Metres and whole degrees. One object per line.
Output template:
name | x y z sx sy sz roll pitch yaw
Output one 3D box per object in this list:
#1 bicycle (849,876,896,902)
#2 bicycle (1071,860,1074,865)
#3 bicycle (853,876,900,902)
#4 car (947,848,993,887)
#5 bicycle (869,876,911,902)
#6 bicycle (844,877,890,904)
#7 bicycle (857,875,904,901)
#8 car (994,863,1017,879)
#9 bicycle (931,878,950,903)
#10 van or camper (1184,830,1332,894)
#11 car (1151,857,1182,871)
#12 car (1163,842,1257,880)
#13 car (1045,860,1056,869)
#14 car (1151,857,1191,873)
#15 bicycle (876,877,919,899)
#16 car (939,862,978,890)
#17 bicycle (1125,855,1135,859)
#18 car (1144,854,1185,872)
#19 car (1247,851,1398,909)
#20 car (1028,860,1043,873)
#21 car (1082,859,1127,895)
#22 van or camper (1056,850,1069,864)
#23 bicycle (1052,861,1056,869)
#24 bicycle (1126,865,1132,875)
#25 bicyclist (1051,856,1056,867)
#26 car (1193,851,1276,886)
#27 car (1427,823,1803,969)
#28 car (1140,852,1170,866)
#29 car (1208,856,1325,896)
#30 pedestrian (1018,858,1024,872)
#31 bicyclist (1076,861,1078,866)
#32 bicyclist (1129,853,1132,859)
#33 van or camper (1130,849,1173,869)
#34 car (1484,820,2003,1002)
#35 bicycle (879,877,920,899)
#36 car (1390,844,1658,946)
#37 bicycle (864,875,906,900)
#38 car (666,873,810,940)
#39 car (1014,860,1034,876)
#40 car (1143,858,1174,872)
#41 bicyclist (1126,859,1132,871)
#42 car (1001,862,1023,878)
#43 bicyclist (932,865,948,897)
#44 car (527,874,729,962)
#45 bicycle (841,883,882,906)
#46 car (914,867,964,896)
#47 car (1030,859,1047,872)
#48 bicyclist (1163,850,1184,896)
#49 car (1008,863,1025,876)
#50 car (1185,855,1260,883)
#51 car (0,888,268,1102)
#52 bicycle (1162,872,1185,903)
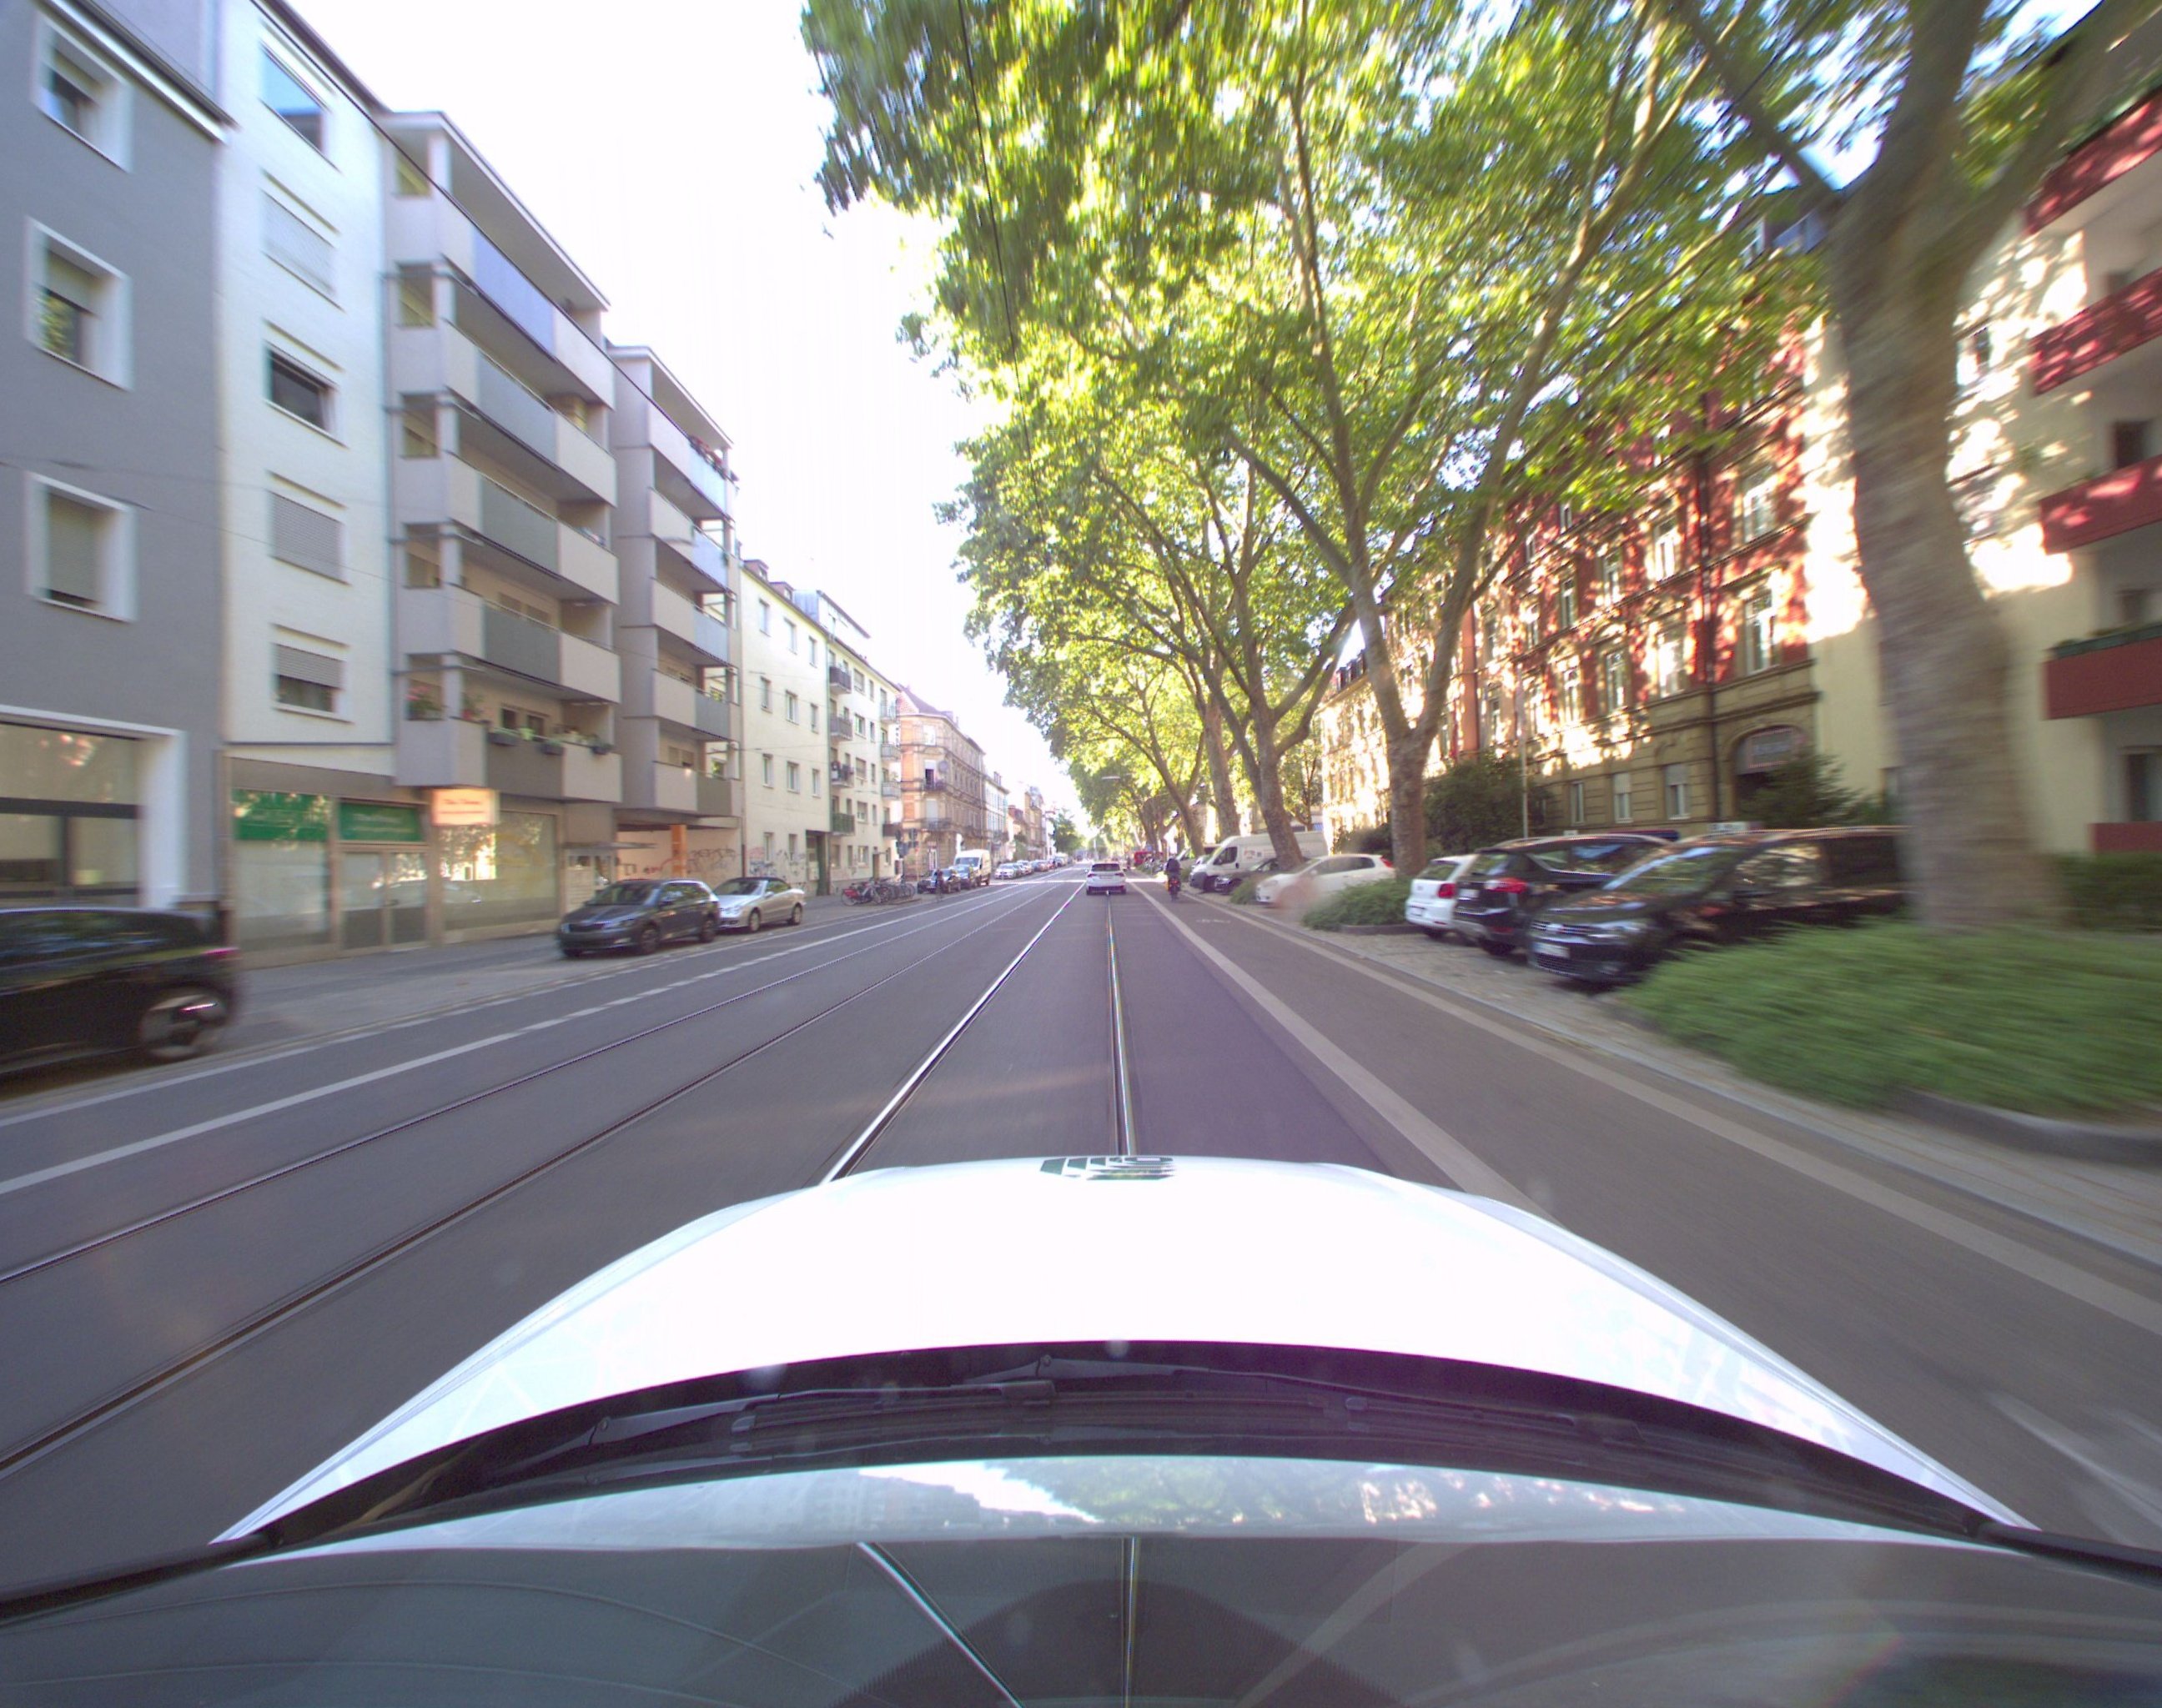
bicycle | -8.958 1.508 35.019 1.920 1.119 0.440 0 -1 8
bicycle | -1.904 2.003 182.589 0.479 1.086 1.847 -2 0 3
bicycle | -8.918 1.512 35.557 1.950 1.119 0.440 0 -1 8
car | -7.793 0.914 57.750 2.056 2.535 5.672 -2 0 3
bicycle | -8.666 1.585 36.952 1.779 1.119 0.425 0 -1 8
bicycle | -9.036 1.538 34.389 1.883 1.119 0.403 0 -1 8
bicycle | -8.870 1.515 36.044 1.957 1.119 0.425 0 -1 8
car | -7.216 1.625 78.217 1.735 1.492 4.045 0 -1 1
bicycle | -6.309 1.621 36.702 0.415 1.018 1.947 -3 -1 2
van or camper | 7.694 0.351 35.815 6.012 2.491 2.107 -2 -1 0
car | 10.266 1.243 97.951 3.581 1.599 1.541 -2 -1 2
car | 8.533 0.462 54.302 5.966 2.282 2.008 -2 0 3
car | -5.247 1.783 141.025 1.821 1.502 4.687 -1 0 0
car | 9.422 1.123 85.273 4.014 1.480 1.681 -3 0 0
bicycle | -8.560 1.592 37.999 1.883 1.038 0.403 0 -1 8
car | -7.814 1.390 52.248 1.713 1.631 4.347 -2 0 0
bicycle | 14.126 0.887 233.296 2.748 0.999 0.595 -1 -1 16
car | 9.295 1.019 91.015 4.249 1.719 1.848 -4 0 -1
car | 7.011 0.748 23.945 3.938 1.480 1.689 -3 -1 2
car | -6.104 1.669 109.743 1.547 1.515 3.928 -2 0 4
car | 0.989 0.985 35.887 1.836 1.480 3.837 -1 -1 0
van or camper | -4.124 0.631 181.682 2.207 3.140 7.120 -1 0 4
bicycle | -4.011 1.573 119.679 0.419 1.150 2.232 -3 -1 1
bicycle | 5.696 1.923 97.018 0.677 1.155 2.966 0 -1 2
bicyclist | -4.016 1.120 119.639 0.580 1.482 0.807 -3 -1 1
car | 7.976 0.764 42.461 3.944 1.655 1.795 -2 -1 -2
car | 7.172 0.536 11.267 3.979 1.745 1.806 -2 0 1
car | 9.922 0.722 110.043 3.807 1.649 1.766 -3 -2 -1
car | 7.499 0.870 33.123 4.373 1.552 1.783 0 -1 1
pedestrian | -9.177 1.701 124.068 0.757 2.014 0.830 -2 -1 0
bicyclist | -1.116 2.651 229.392 0.635 1.503 1.070 -3 -1 3
bicyclist | 14.100 0.562 233.331 0.731 1.589 0.589 -2 -1 14
van or camper | 9.919 0.702 114.672 5.797 2.519 2.287 -4 0 -1
car | 6.990 0.564 8.908 4.279 1.652 1.742 -2 -1 -2
bicycle | -8.598 1.601 38.580 1.883 1.038 0.403 0 -1 8
car | 7.336 0.656 13.739 3.597 1.495 1.660 -2 -1 0
bicycle | -8.844 1.521 36.730 1.808 1.119 0.425 0 -1 8
car | -9.027 1.315 21.926 1.683 1.491 4.731 -2 0 2
car | -6.546 1.590 94.374 1.779 1.723 4.720 0 -1 2
car | 9.546 1.340 100.310 3.582 1.517 1.694 -3 0 1
bicyclist | 5.699 1.298 97.154 0.676 1.339 0.525 0 -1 2
car | -7.057 1.647 83.955 1.735 1.562 4.786 0 0 1
bicyclist | -6.342 1.223 36.570 0.507 1.394 0.709 -4 -1 1
car | -9.241 1.224 17.081 1.788 1.491 4.240 -2 0 0
bicycle | -9.118 1.660 33.800 1.621 0.917 0.400 0 -1 -15
car | -8.003 1.503 46.250 1.711 1.456 4.576 -2 0 3
car | -5.957 1.658 114.559 1.849 1.703 4.766 -2 0 3
bicyclist | 3.263 0.655 28.730 0.612 1.552 0.936 3 0 2
car | -7.007 1.662 89.042 1.695 1.420 3.996 0 -1 -2
car | 8.272 0.856 47.819 4.041 1.460 1.796 -2 -1 0
car | -9.313 1.144 6.361 1.650 1.600 4.202 0 0 1
bicycle | 3.230 1.157 28.638 0.593 1.004 2.512 1 0 2
